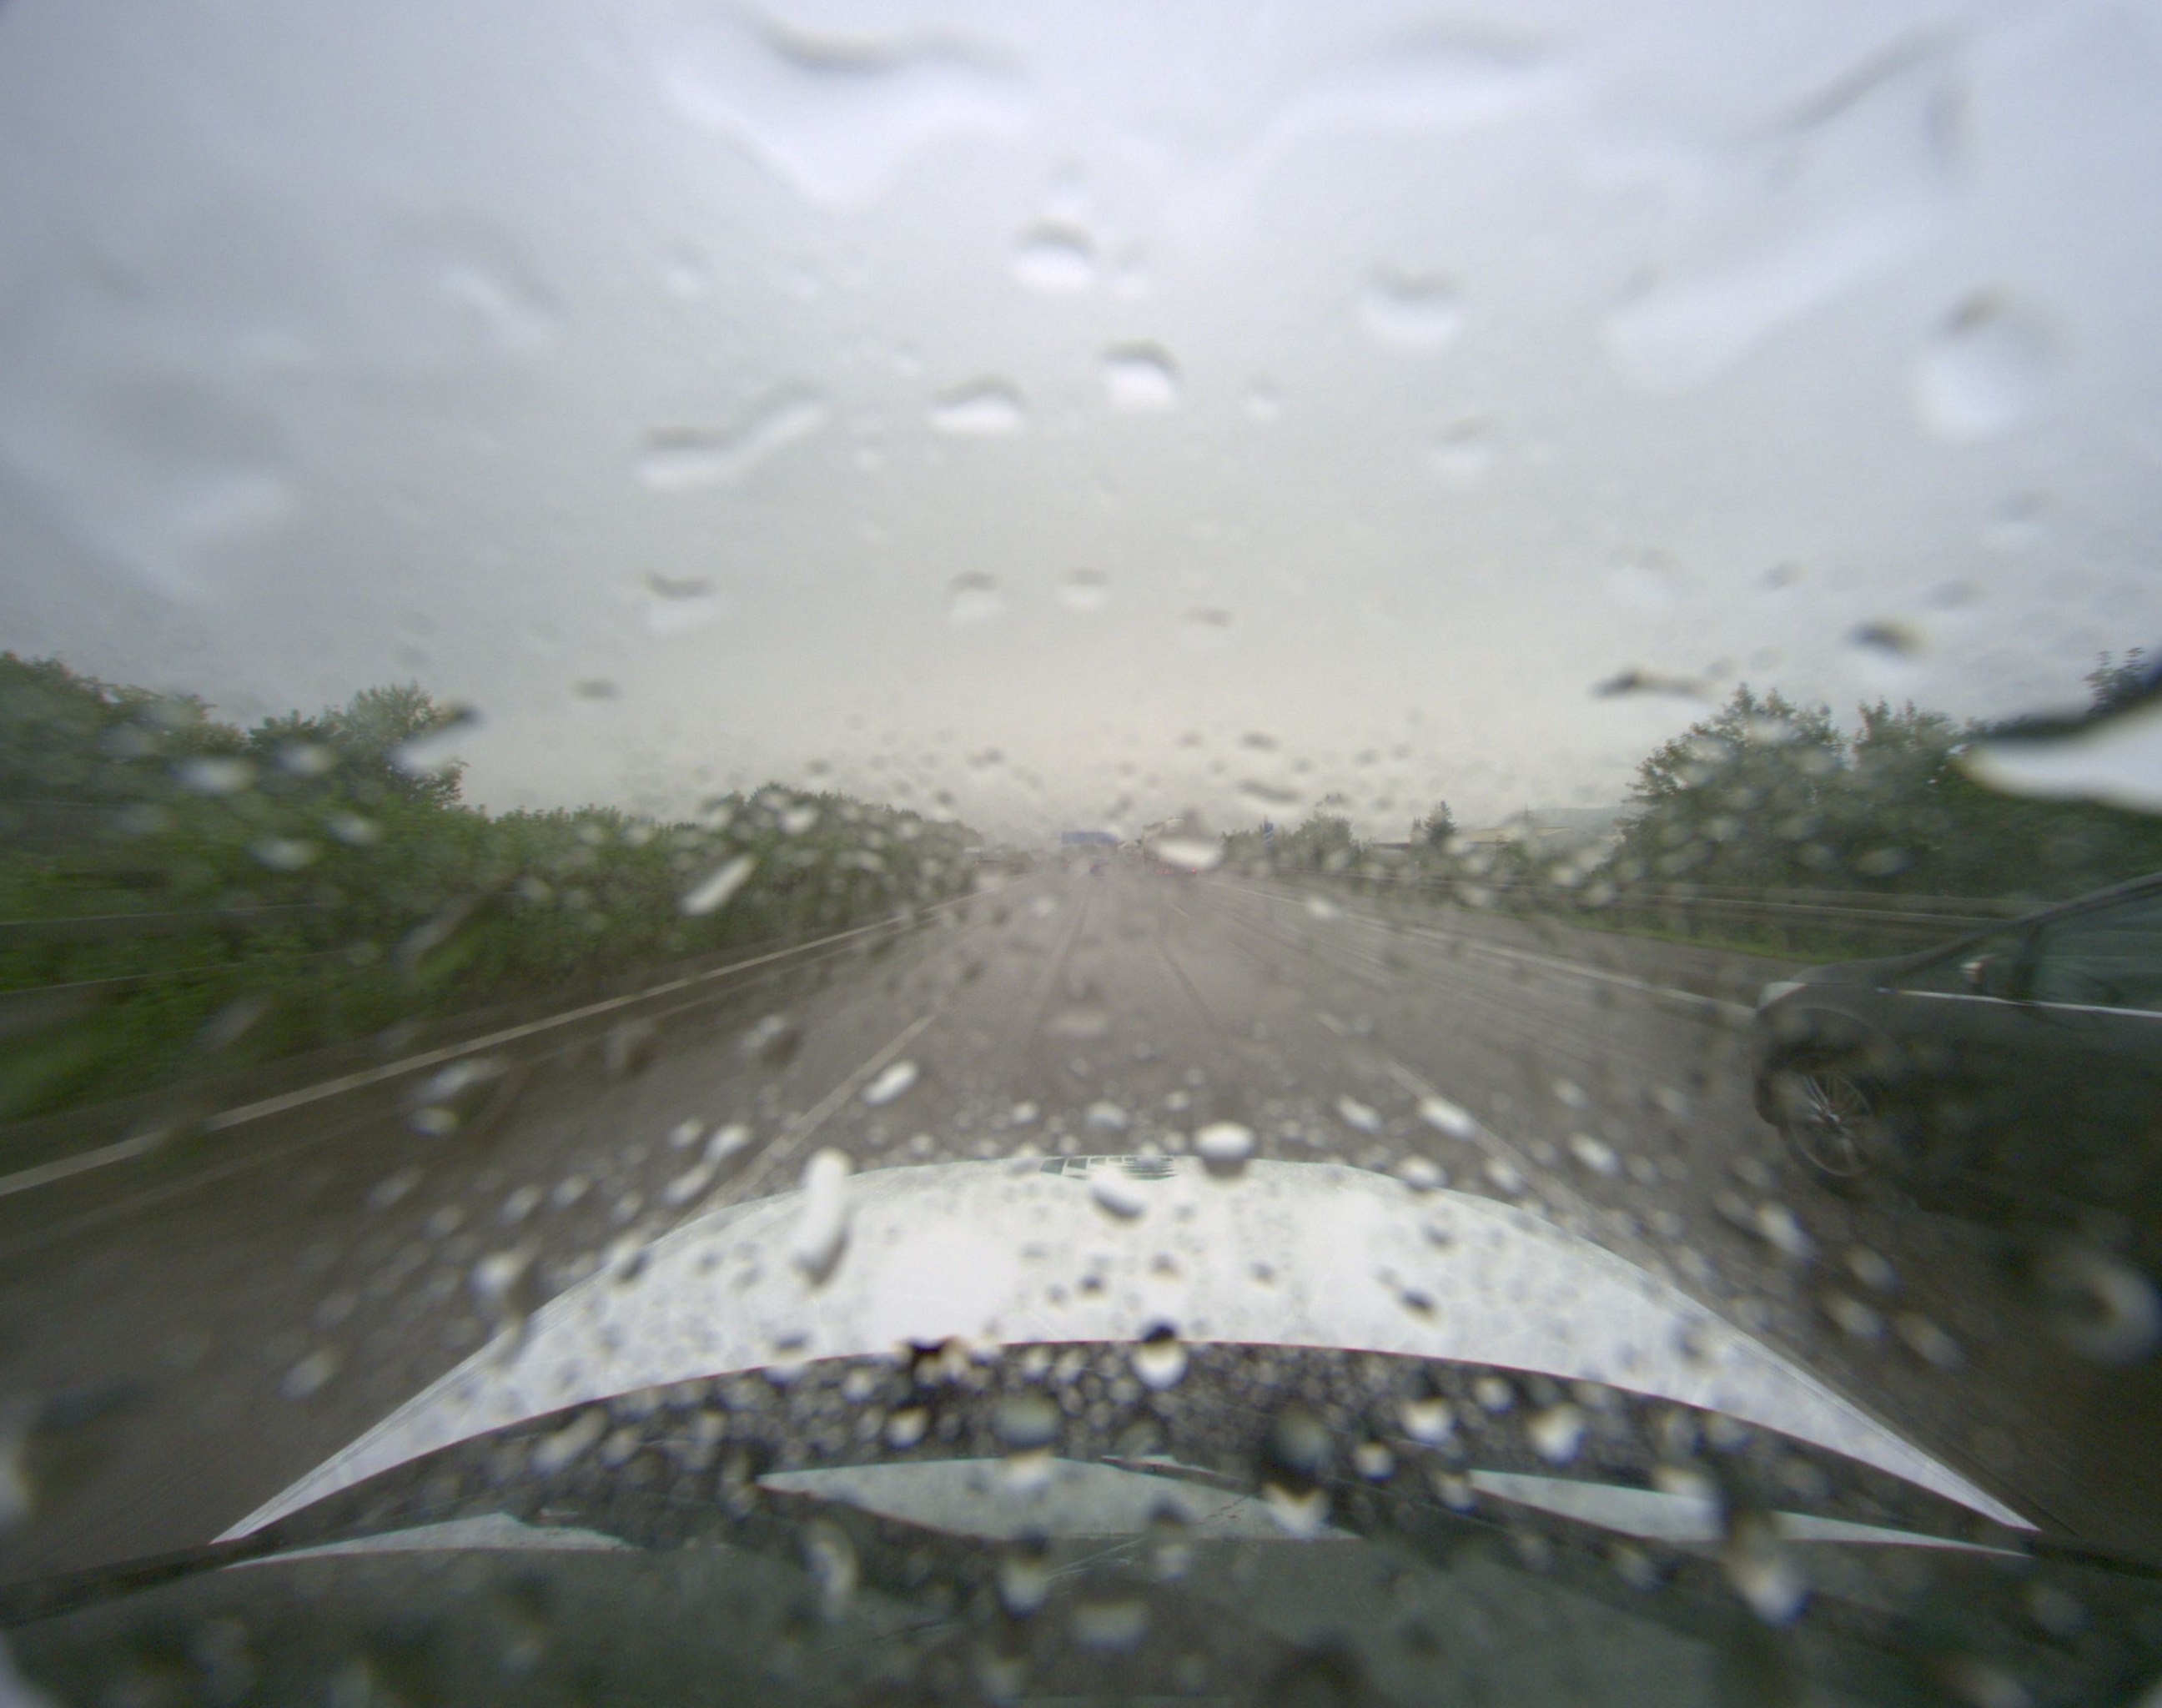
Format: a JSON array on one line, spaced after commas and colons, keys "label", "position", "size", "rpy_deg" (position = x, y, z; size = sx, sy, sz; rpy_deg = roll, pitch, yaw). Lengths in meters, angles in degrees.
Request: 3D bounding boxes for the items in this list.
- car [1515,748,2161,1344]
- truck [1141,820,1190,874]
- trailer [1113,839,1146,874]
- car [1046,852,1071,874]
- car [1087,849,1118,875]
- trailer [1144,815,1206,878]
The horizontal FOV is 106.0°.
[{"label": "car", "position": [4.402, 0.553, 3.202], "size": [2.449, 1.746, 5.720], "rpy_deg": [-1, 0, 1]}, {"label": "truck", "position": [6.237, -0.482, 60.900], "size": [3.093, 3.806, 7.215], "rpy_deg": [-1, 0, 2]}, {"label": "trailer", "position": [5.598, 0.276, 95.050], "size": [2.997, 3.848, 8.616], "rpy_deg": [0, 0, -2]}, {"label": "car", "position": [-1.843, 0.725, 67.641], "size": [1.918, 1.741, 4.404], "rpy_deg": [-1, 0, 1]}, {"label": "car", "position": [1.538, 0.536, 56.906], "size": [1.970, 1.756, 4.485], "rpy_deg": [-1, 0, 3]}, {"label": "trailer", "position": [5.931, -0.427, 53.499], "size": [3.176, 3.670, 11.673], "rpy_deg": [-1, 0, 2]}]
